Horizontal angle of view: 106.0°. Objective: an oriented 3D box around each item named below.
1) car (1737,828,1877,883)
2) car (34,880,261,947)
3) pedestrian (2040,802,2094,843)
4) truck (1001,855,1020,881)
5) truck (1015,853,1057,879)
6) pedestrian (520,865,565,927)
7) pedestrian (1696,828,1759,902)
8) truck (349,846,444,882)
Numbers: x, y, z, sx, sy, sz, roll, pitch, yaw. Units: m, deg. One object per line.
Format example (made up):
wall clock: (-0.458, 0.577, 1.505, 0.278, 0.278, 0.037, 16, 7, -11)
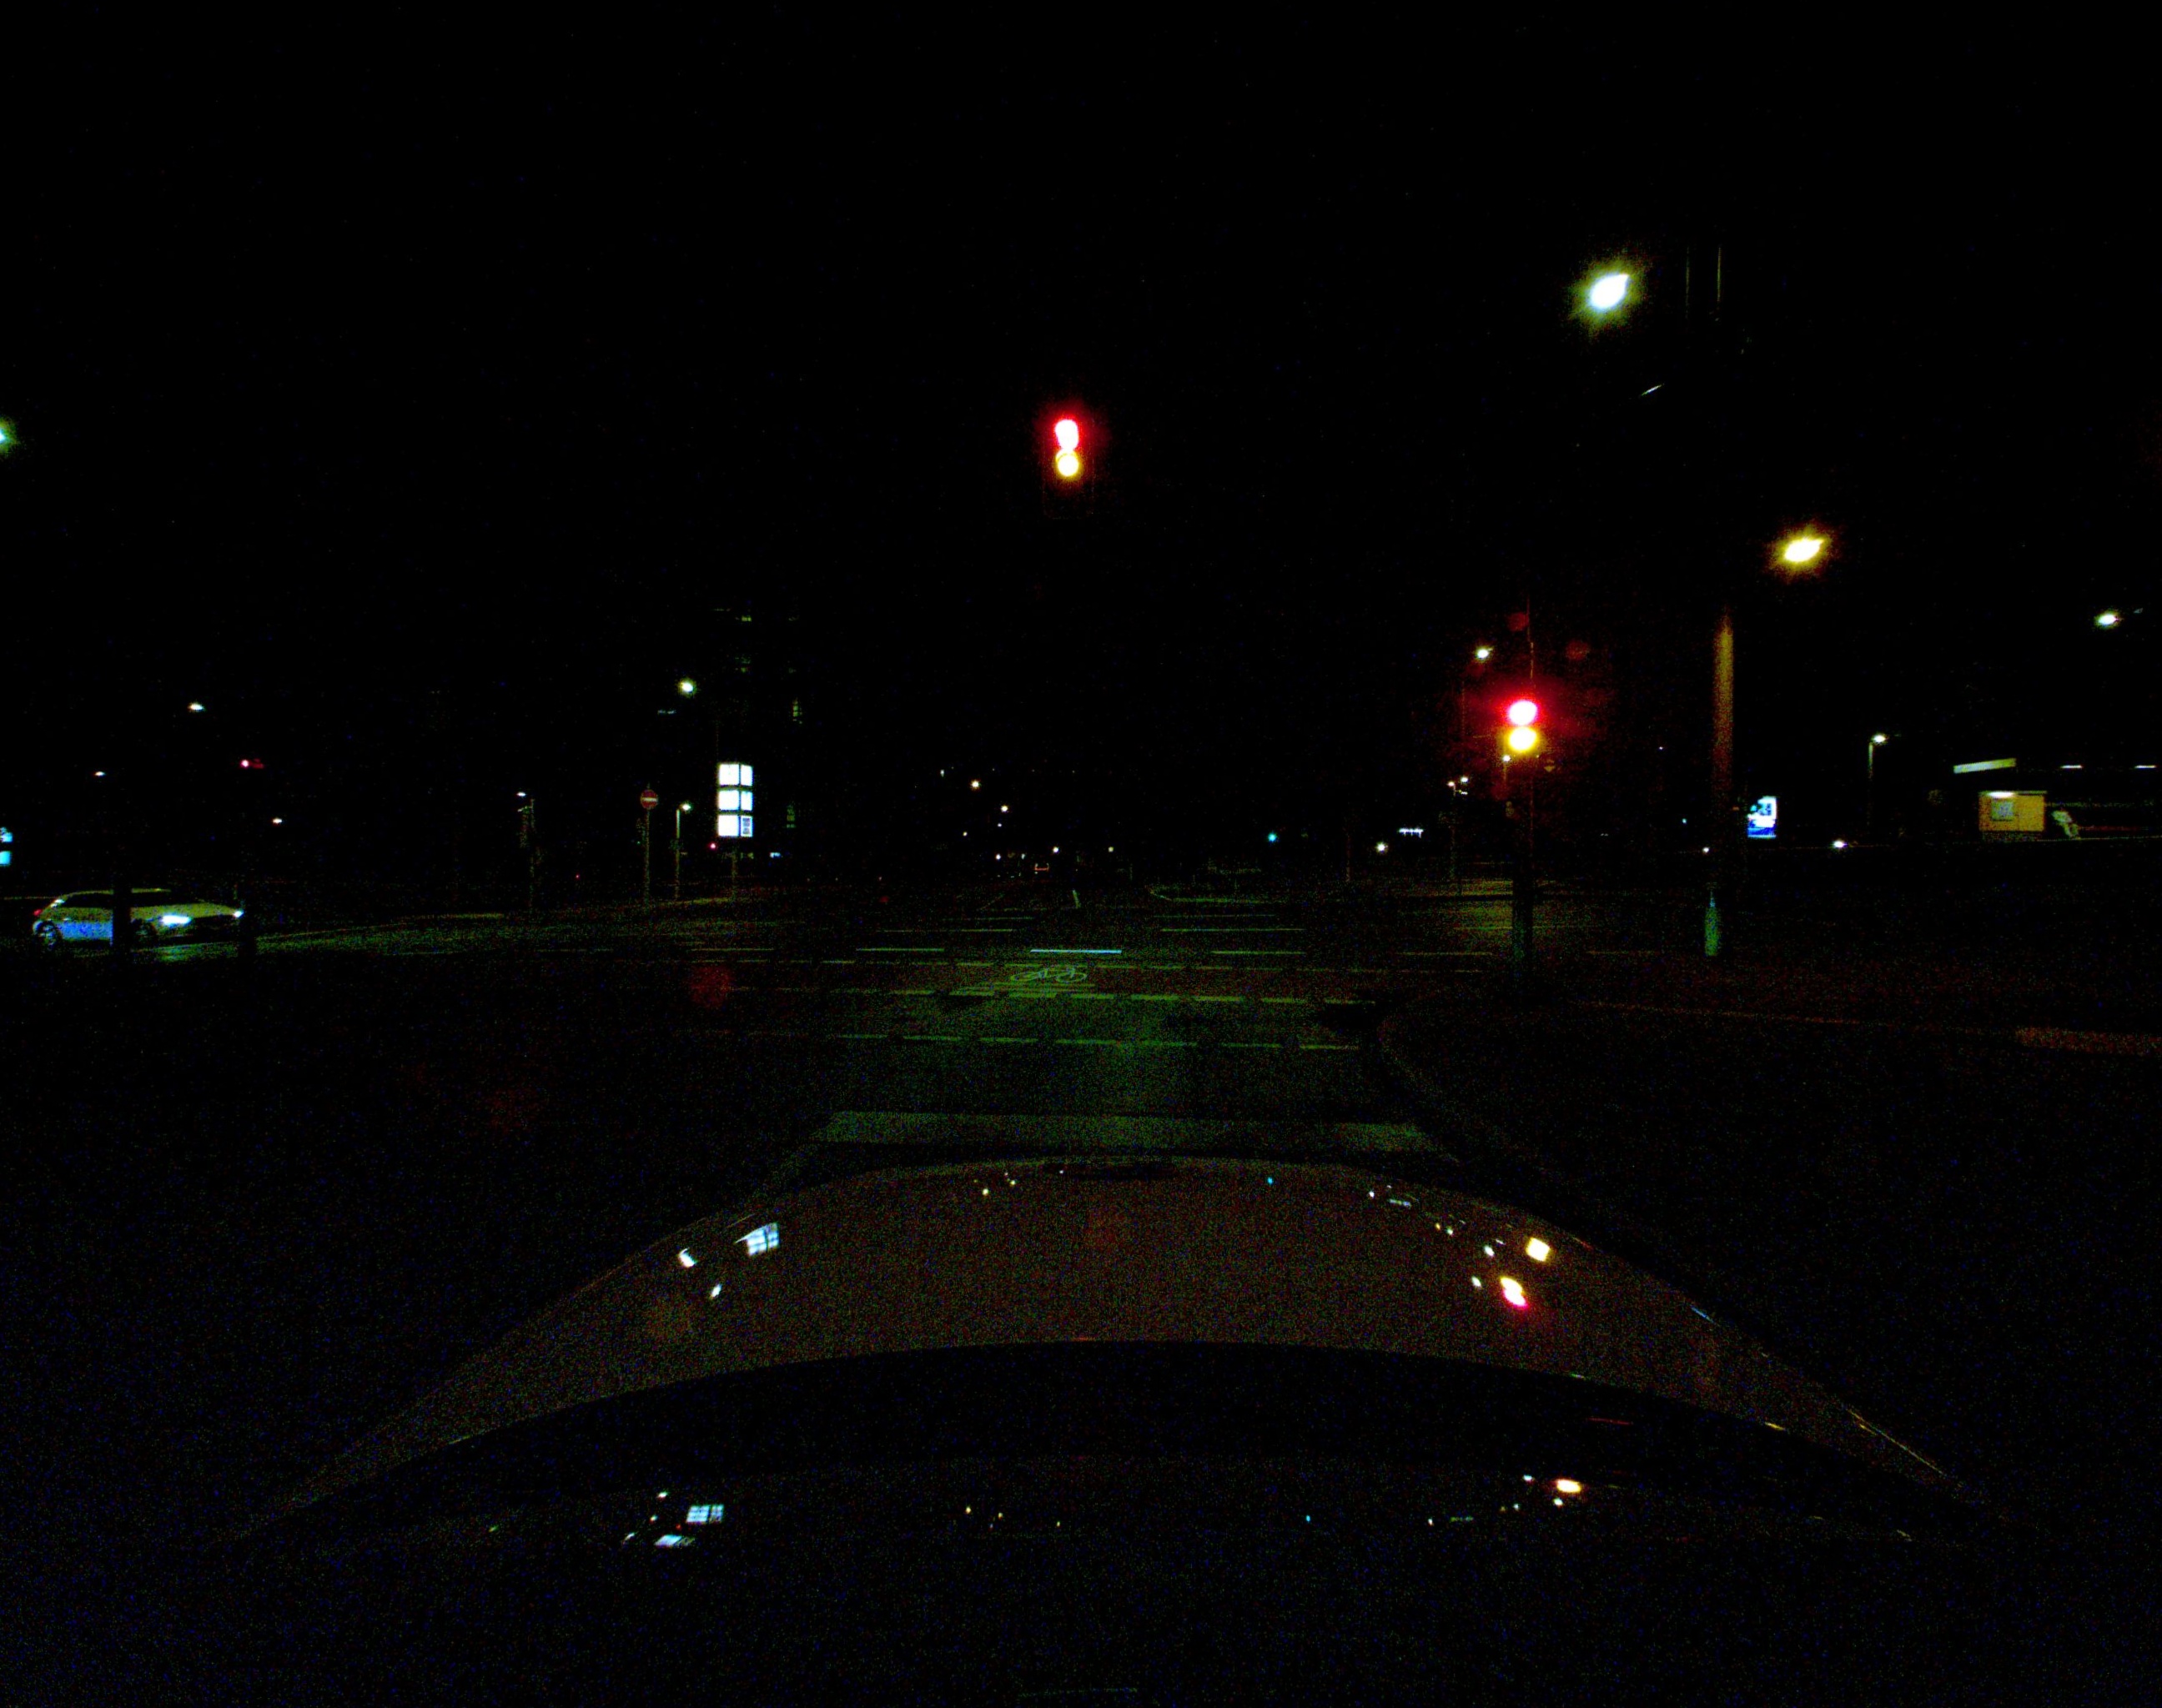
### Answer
car: (30.851, 0.076, 34.723, 3.966, 2.014, 2.003, -4, -1, 6)
car: (-24.190, 1.527, 21.175, 4.163, 1.502, 1.823, -2, 0, 7)
pedestrian: (38.261, -1.213, 31.618, 1.131, 1.500, 1.084, -3, -2, 41)
truck: (-10.438, 1.960, 119.640, 2.580, 3.707, 5.723, 0, -1, -7)
truck: (-8.530, 2.223, 151.470, 4.835, 4.547, 12.591, 0, -1, -17)
pedestrian: (-14.742, 1.134, 22.322, 0.667, 1.634, 0.862, 0, -1, -3)
pedestrian: (15.974, 0.280, 20.145, 0.752, 1.745, 0.834, -4, -2, 1)
truck: (-59.815, 0.864, 71.245, 5.873, 3.088, 2.915, 0, -1, 3)
